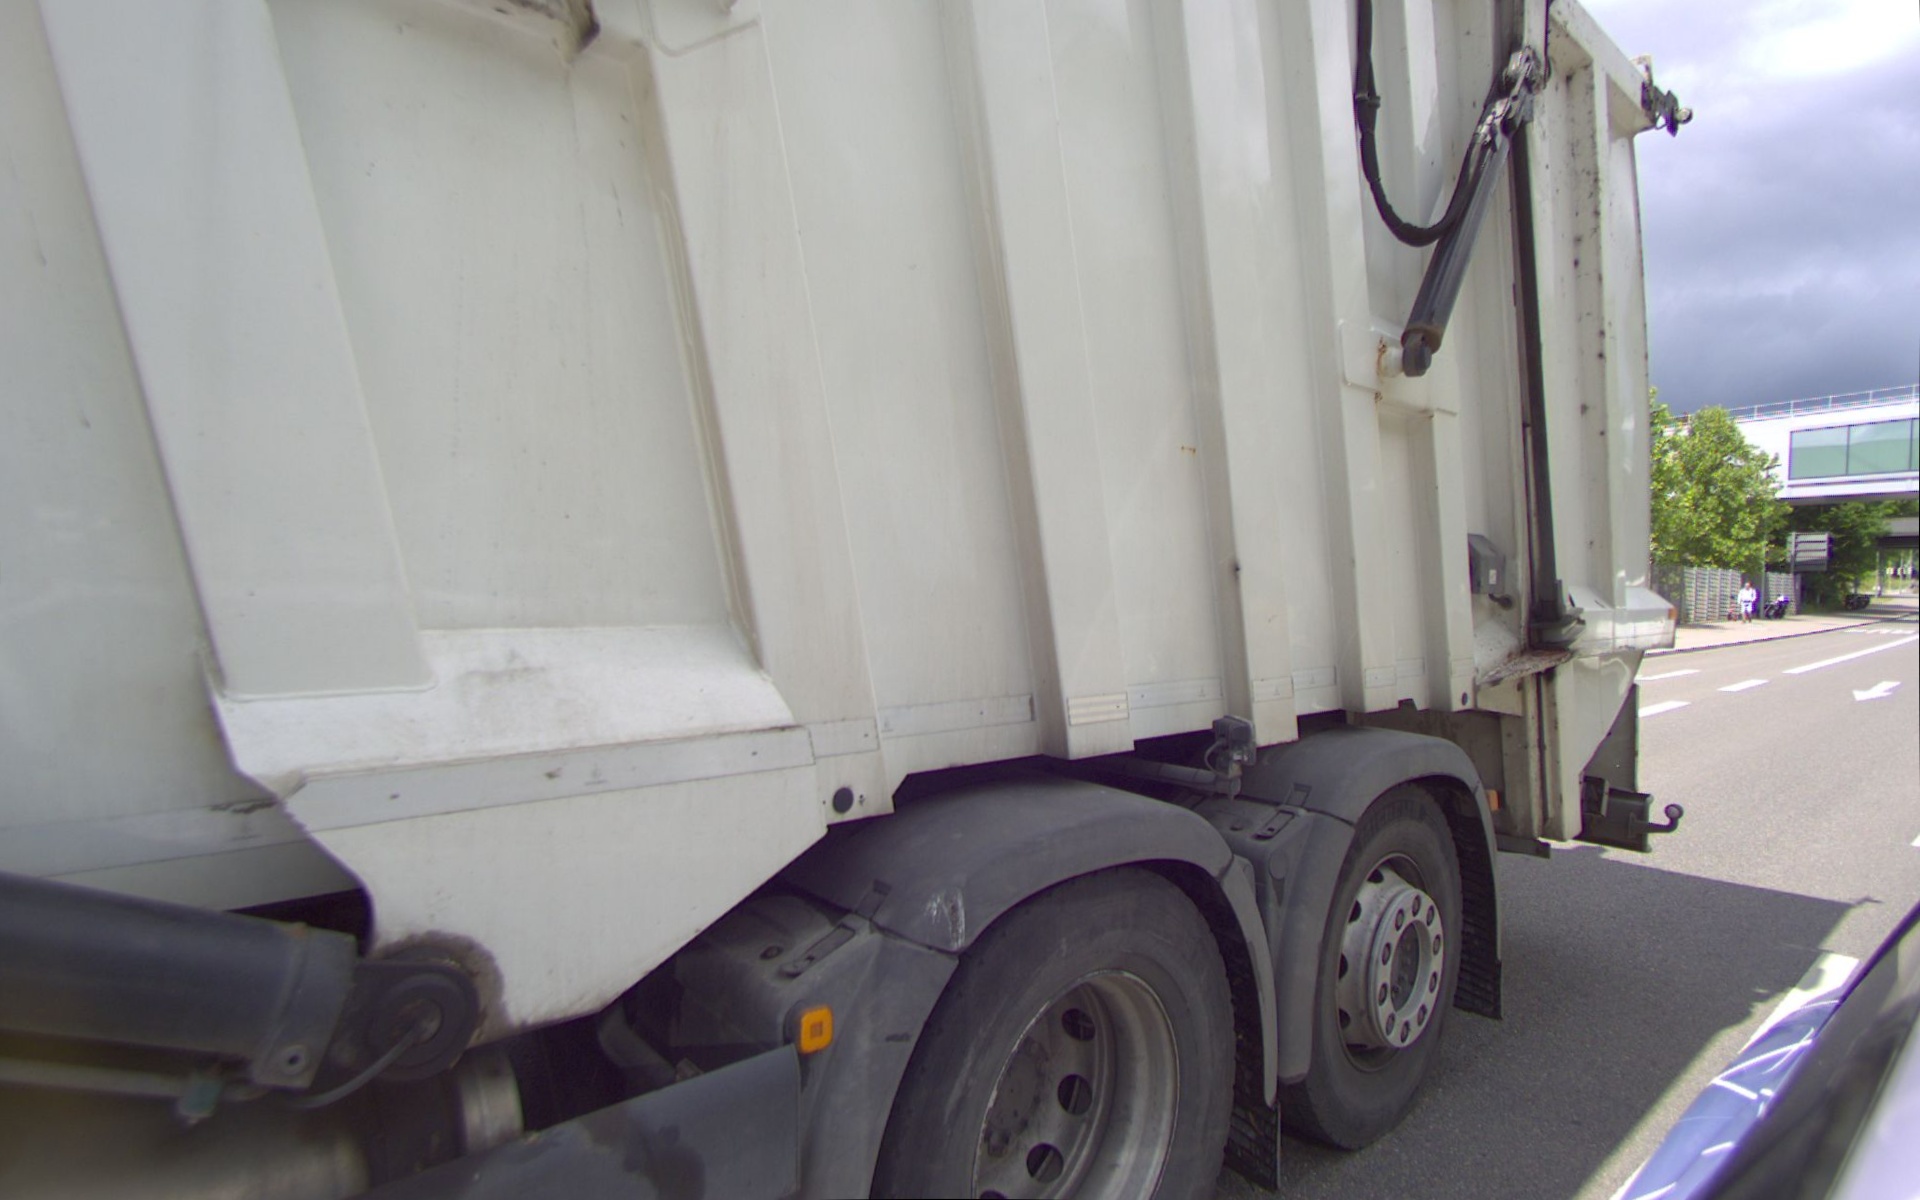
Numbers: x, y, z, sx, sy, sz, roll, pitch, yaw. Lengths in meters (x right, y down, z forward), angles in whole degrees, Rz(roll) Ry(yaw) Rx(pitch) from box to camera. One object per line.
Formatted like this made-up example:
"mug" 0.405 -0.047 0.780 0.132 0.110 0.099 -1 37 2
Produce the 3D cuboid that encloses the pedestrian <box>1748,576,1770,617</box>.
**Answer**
"pedestrian" 38.159 -0.173 48.352 0.647 1.936 0.738 0 0 -43

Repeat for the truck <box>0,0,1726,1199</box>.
"truck" -0.877 -0.598 2.436 9.999 3.962 2.492 -1 0 -42
